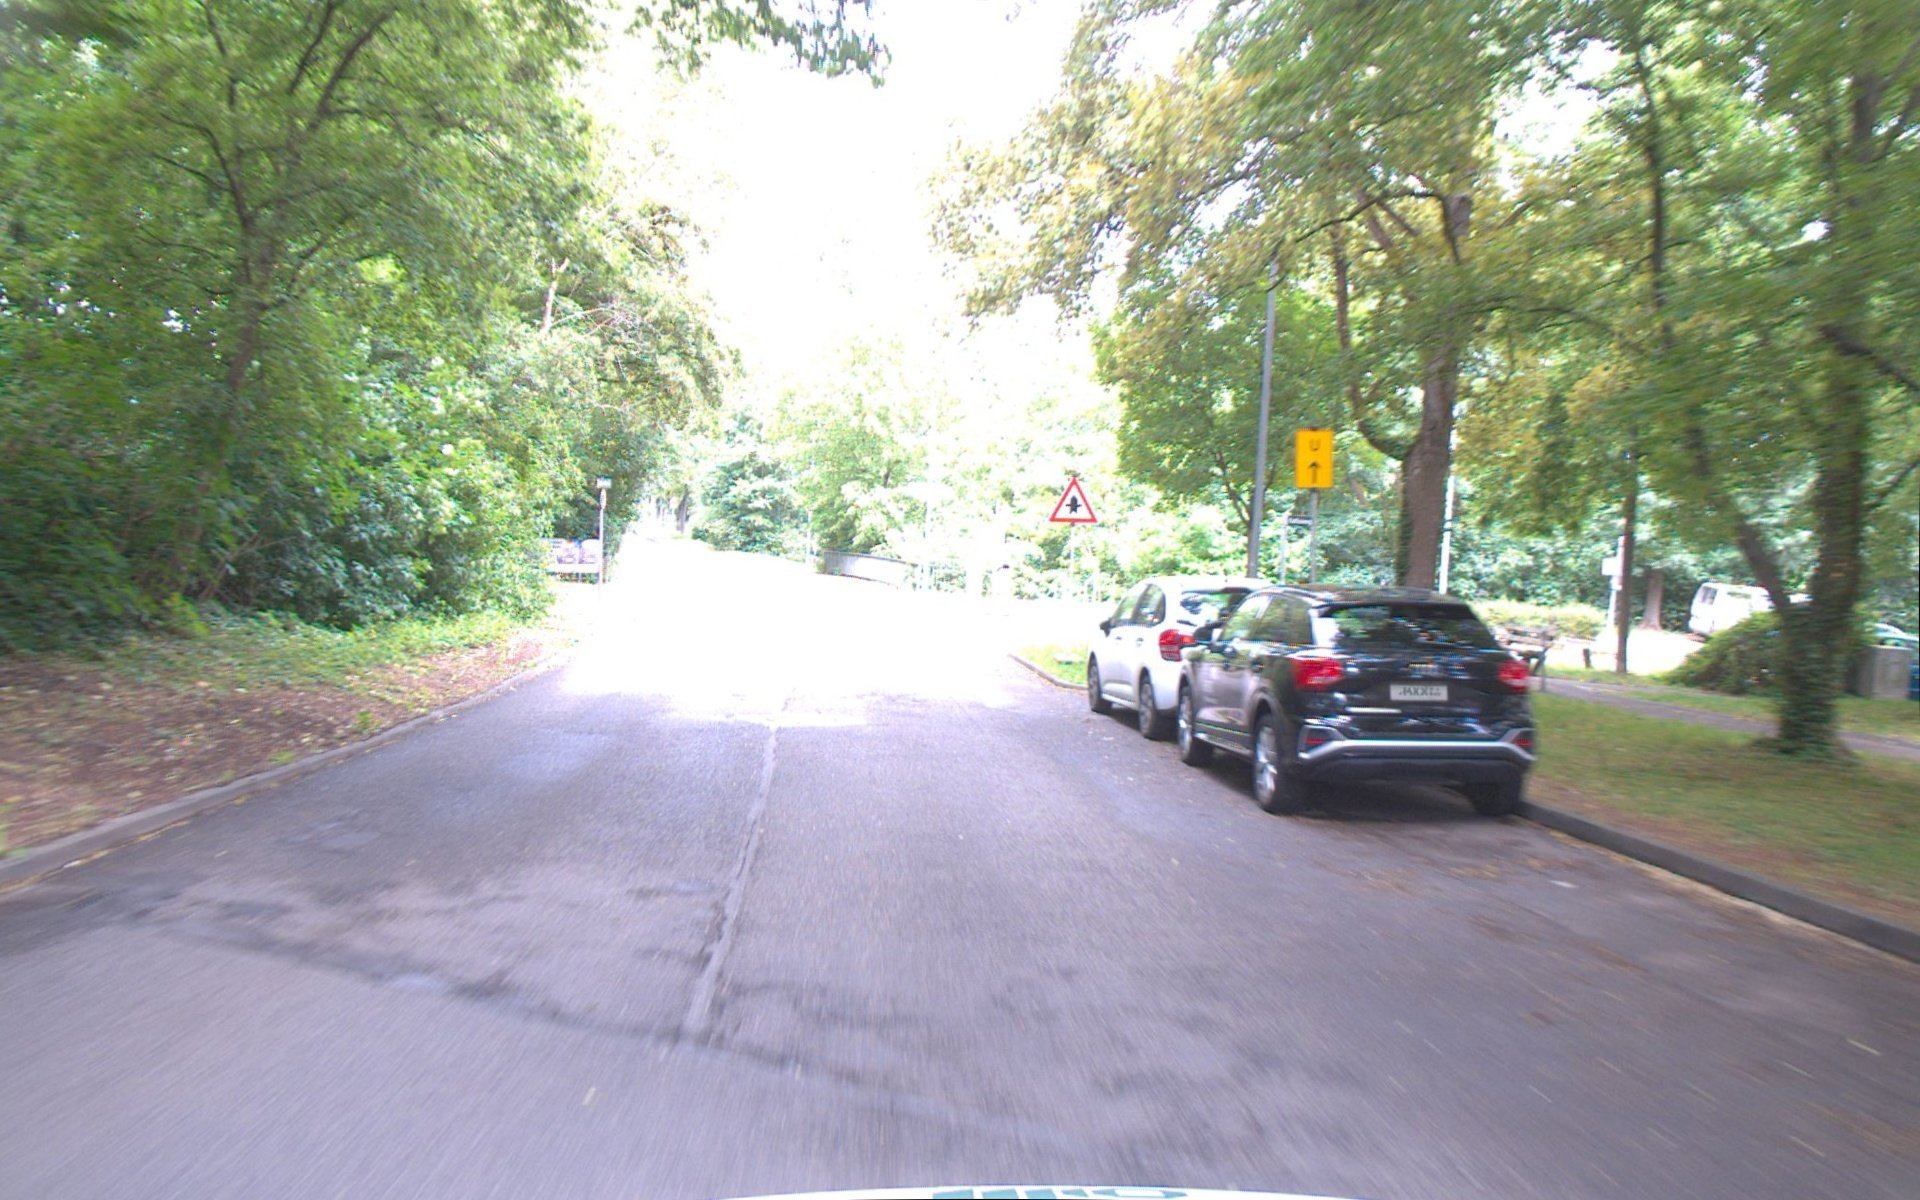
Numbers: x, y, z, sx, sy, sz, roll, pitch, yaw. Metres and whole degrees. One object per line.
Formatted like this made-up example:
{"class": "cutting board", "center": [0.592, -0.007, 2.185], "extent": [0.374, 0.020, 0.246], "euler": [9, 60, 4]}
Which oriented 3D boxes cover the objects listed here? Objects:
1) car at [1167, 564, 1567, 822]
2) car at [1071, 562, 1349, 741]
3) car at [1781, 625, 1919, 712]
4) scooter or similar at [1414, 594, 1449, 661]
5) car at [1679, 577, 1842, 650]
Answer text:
{"class": "car", "center": [2.831, 0.544, 12.507], "extent": [1.739, 1.549, 4.181], "euler": [3, 1, -3]}
{"class": "car", "center": [2.413, 0.432, 16.923], "extent": [1.741, 1.549, 3.774], "euler": [2, 1, -8]}
{"class": "car", "center": [19.476, 1.457, 34.800], "extent": [3.442, 1.597, 1.834], "euler": [3, 2, 7]}
{"class": "scooter or similar", "center": [9.629, 0.552, 33.822], "extent": [0.277, 1.309, 1.107], "euler": [3, 1, -3]}
{"class": "car", "center": [25.394, 0.409, 52.566], "extent": [4.120, 2.048, 2.000], "euler": [3, 1, 0]}
